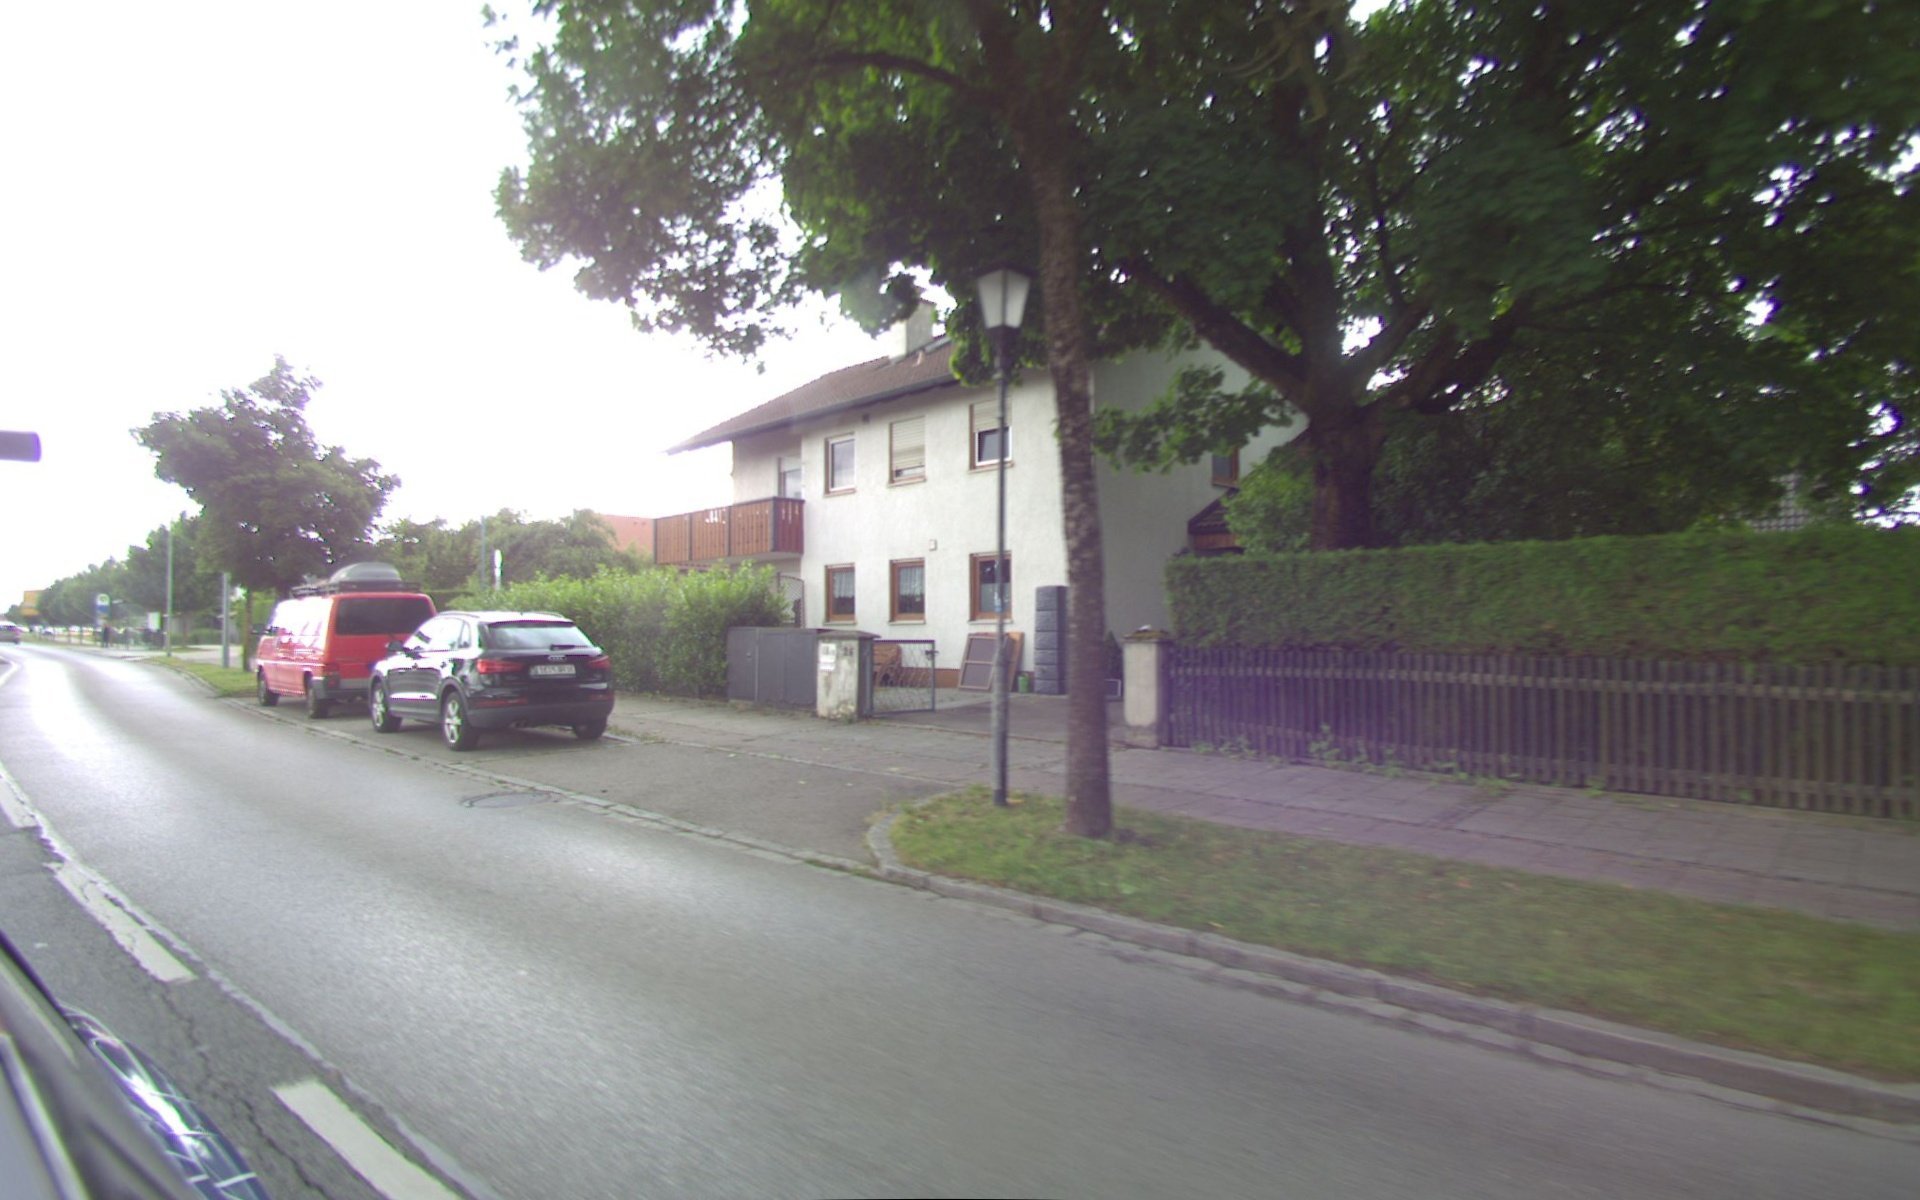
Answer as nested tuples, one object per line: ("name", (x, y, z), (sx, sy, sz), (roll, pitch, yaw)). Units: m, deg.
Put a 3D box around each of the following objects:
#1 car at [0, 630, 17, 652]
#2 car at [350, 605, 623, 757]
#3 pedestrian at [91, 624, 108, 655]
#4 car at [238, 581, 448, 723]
("car", (-71.611, 3.043, 75.476), (1.687, 1.544, 3.509), (4, -4, -44))
("car", (-6.143, 0.921, 12.895), (4.239, 1.610, 1.752), (-2, -1, 44))
("pedestrian", (-45.485, 2.080, 53.473), (0.813, 1.649, 0.582), (-2, -2, 43))
("car", (-10.486, 0.827, 17.018), (5.047, 2.046, 1.809), (-2, -2, 44))
